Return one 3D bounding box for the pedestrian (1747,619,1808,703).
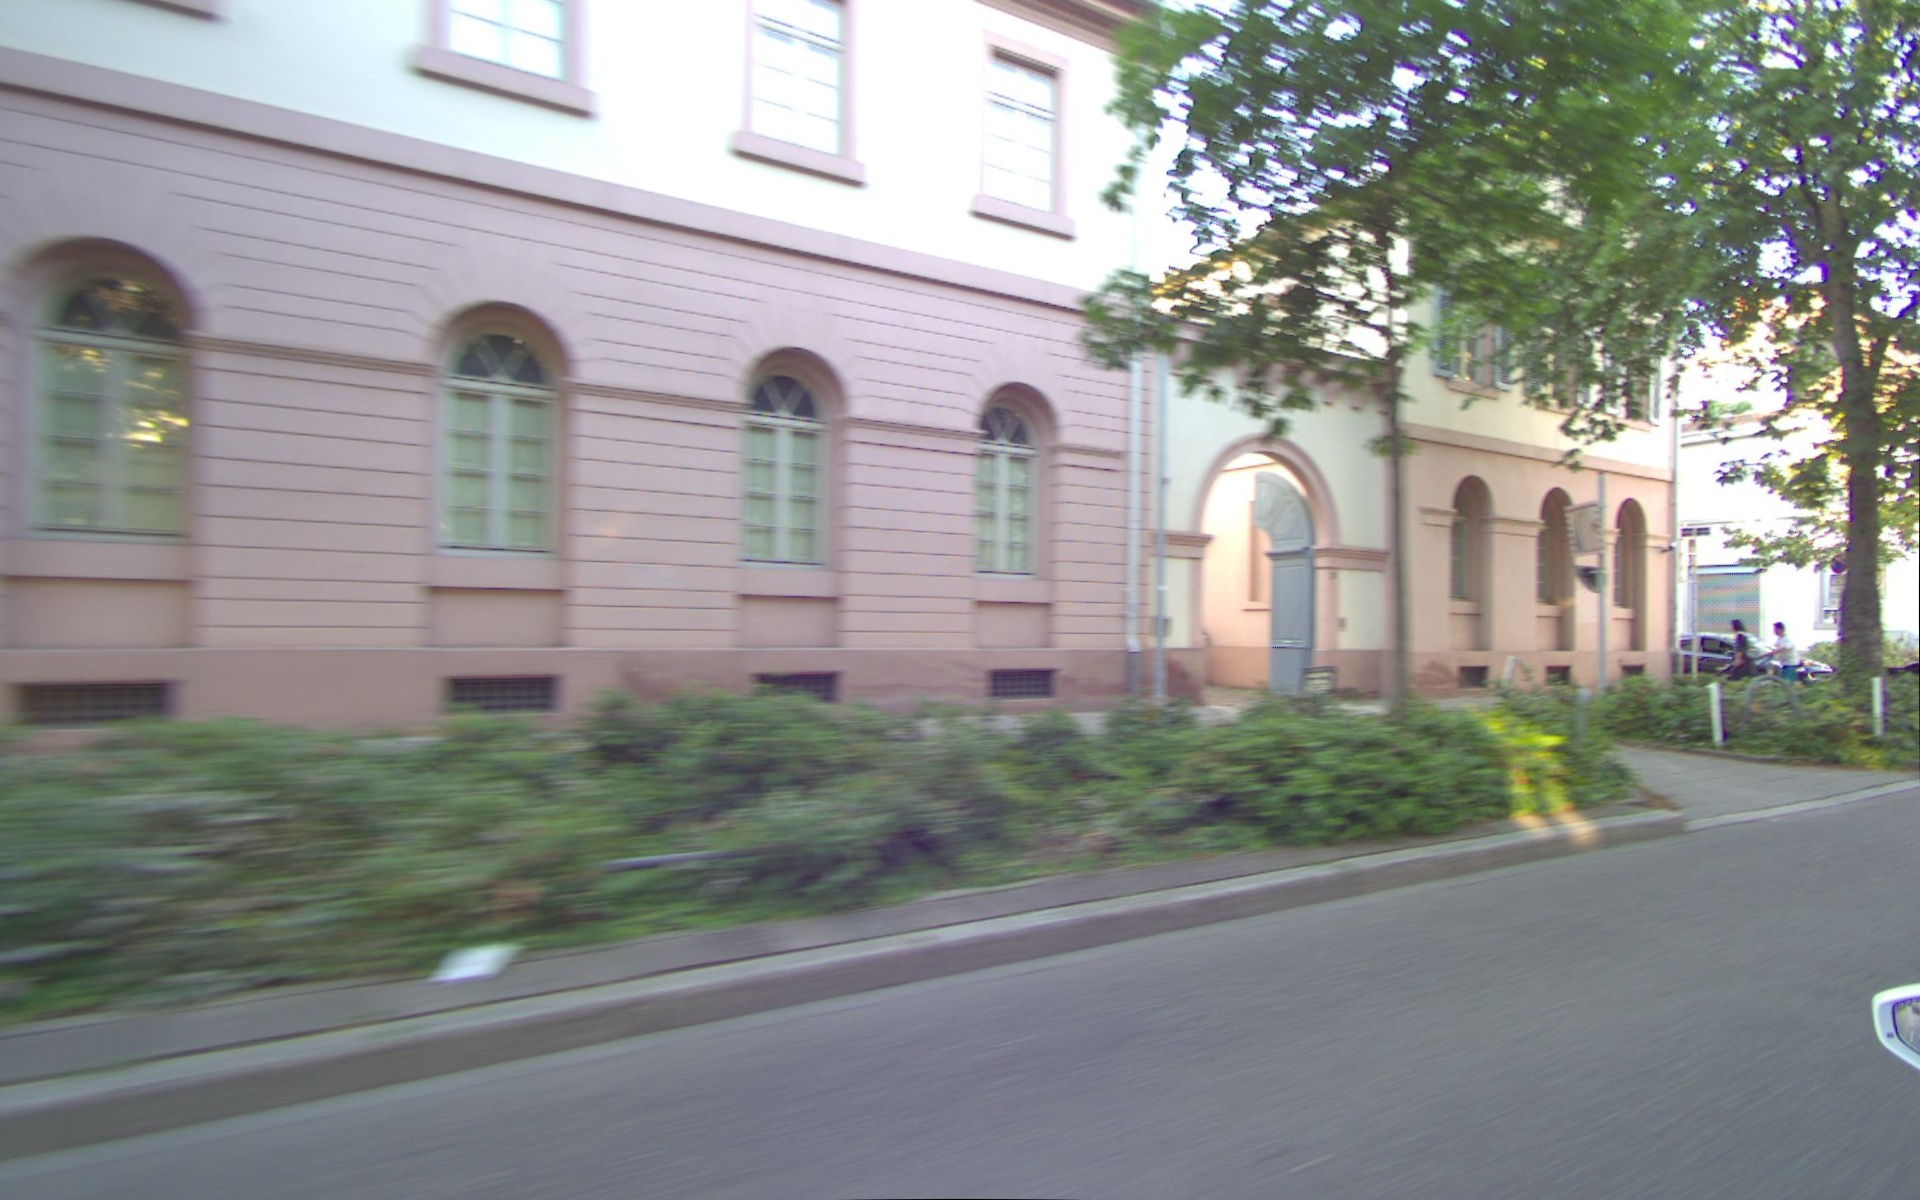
[{"bbox_3d":[16.901,1.245,20.771,0.827,1.686,0.715,1,-1,-27],"label":"pedestrian"}]

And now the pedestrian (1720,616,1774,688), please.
[{"bbox_3d":[15.977,1.045,20.401,0.600,1.413,0.652,2,0,-30],"label":"pedestrian"}]

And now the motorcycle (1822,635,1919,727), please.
[{"bbox_3d":[13.840,1.177,14.599,0.583,1.275,1.911,1,-1,-29],"label":"motorcycle"}]

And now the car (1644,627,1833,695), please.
[{"bbox_3d":[18.877,1.430,24.505,1.443,1.524,3.379,2,-2,-28],"label":"car"}]
